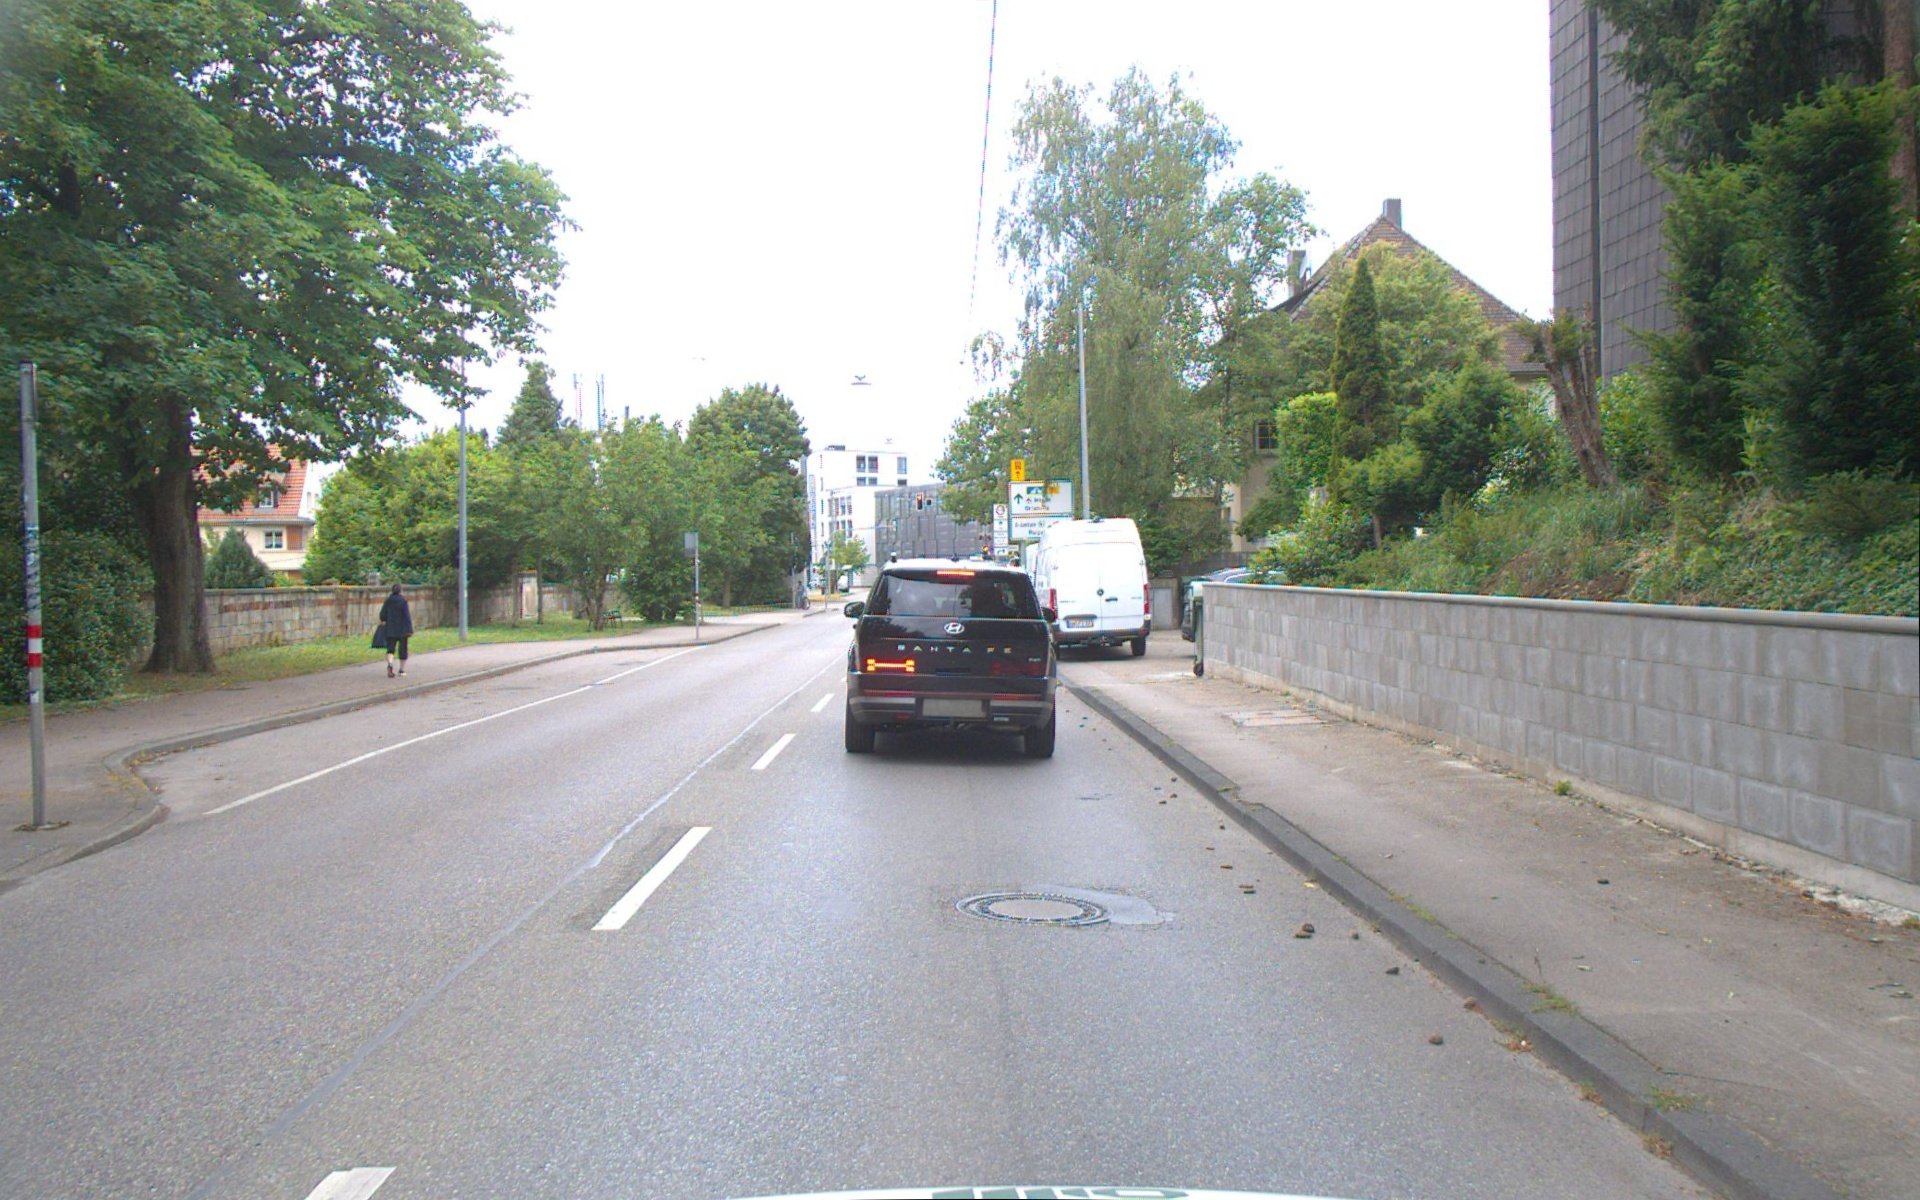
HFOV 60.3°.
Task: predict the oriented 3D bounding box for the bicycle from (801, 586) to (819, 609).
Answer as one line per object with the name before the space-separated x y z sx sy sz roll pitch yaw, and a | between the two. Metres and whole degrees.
bicycle | -8.727 -0.149 96.042 0.664 1.302 2.491 1 -1 -14

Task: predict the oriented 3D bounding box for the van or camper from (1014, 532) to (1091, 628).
van or camper | 2.901 -0.652 53.063 1.924 2.845 5.285 -2 1 -1

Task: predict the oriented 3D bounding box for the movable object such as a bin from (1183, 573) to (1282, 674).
movable object such as a bin | 4.166 0.352 25.390 1.273 1.476 1.180 -2 0 -1

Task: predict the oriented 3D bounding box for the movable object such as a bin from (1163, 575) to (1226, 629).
movable object such as a bin | 6.698 0.045 47.328 1.422 1.499 1.715 0 1 -6

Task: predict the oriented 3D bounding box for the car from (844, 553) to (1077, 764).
car | -0.020 0.463 15.714 1.924 1.741 4.000 1 1 -1

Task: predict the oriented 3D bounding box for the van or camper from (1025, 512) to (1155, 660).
van or camper | 2.574 -0.306 34.232 1.924 2.673 6.357 -3 1 -1

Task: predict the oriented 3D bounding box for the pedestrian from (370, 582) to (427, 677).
pedestrian | -9.718 0.496 28.628 0.734 1.605 0.965 1 0 -7

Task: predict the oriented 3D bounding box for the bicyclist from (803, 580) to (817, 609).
bicyclist | -8.726 -0.326 96.074 0.664 1.688 0.855 1 -1 -15

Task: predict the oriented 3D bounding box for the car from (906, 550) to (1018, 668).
car | -0.020 0.132 30.653 1.924 2.036 3.999 1 1 -2

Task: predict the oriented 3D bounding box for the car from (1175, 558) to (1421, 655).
car | 6.373 0.111 31.545 4.304 1.681 1.830 -1 1 0
